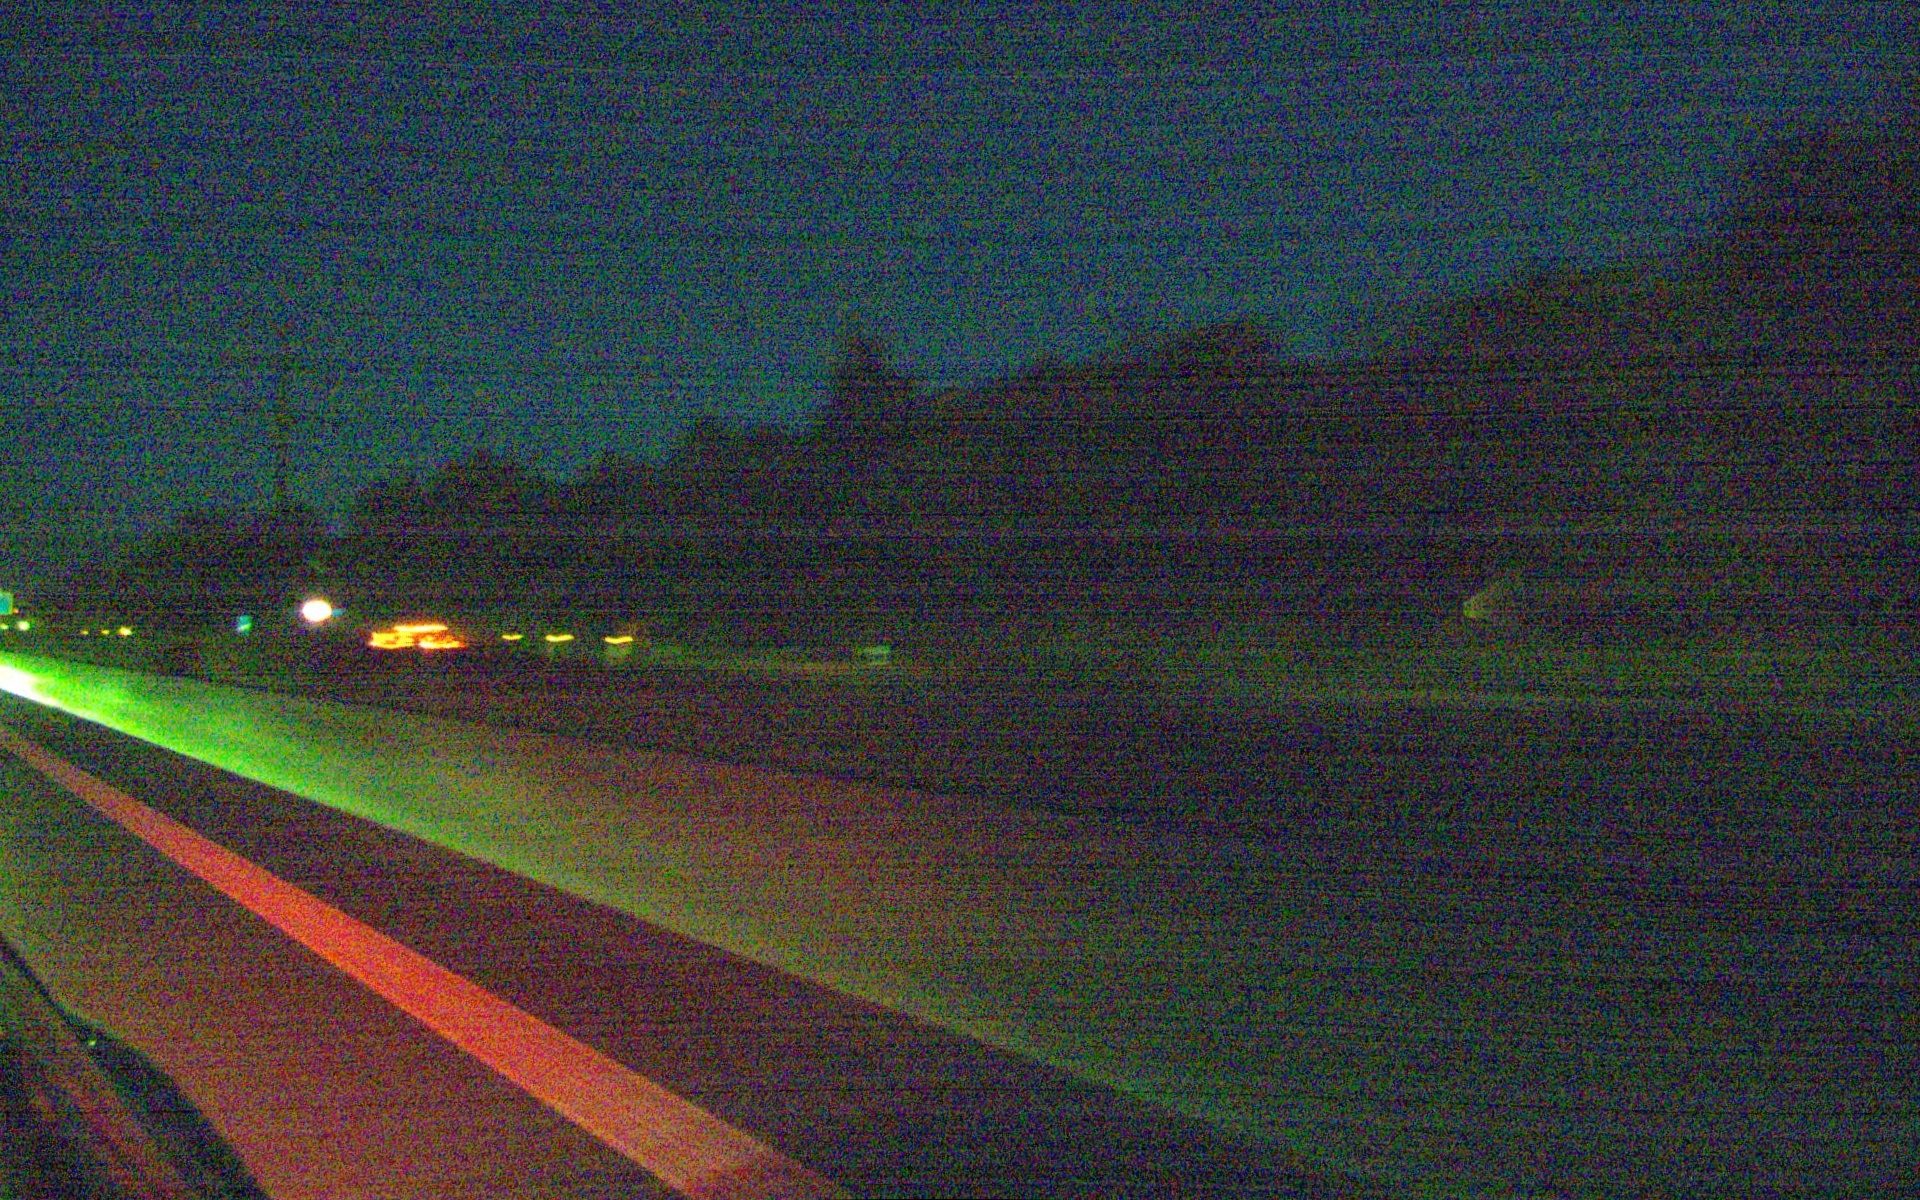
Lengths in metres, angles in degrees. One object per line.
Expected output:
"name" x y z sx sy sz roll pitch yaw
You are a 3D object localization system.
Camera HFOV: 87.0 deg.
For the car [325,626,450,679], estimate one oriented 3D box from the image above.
"car" -17.314 1.563 30.502 4.749 1.490 1.732 -2 -4 41
